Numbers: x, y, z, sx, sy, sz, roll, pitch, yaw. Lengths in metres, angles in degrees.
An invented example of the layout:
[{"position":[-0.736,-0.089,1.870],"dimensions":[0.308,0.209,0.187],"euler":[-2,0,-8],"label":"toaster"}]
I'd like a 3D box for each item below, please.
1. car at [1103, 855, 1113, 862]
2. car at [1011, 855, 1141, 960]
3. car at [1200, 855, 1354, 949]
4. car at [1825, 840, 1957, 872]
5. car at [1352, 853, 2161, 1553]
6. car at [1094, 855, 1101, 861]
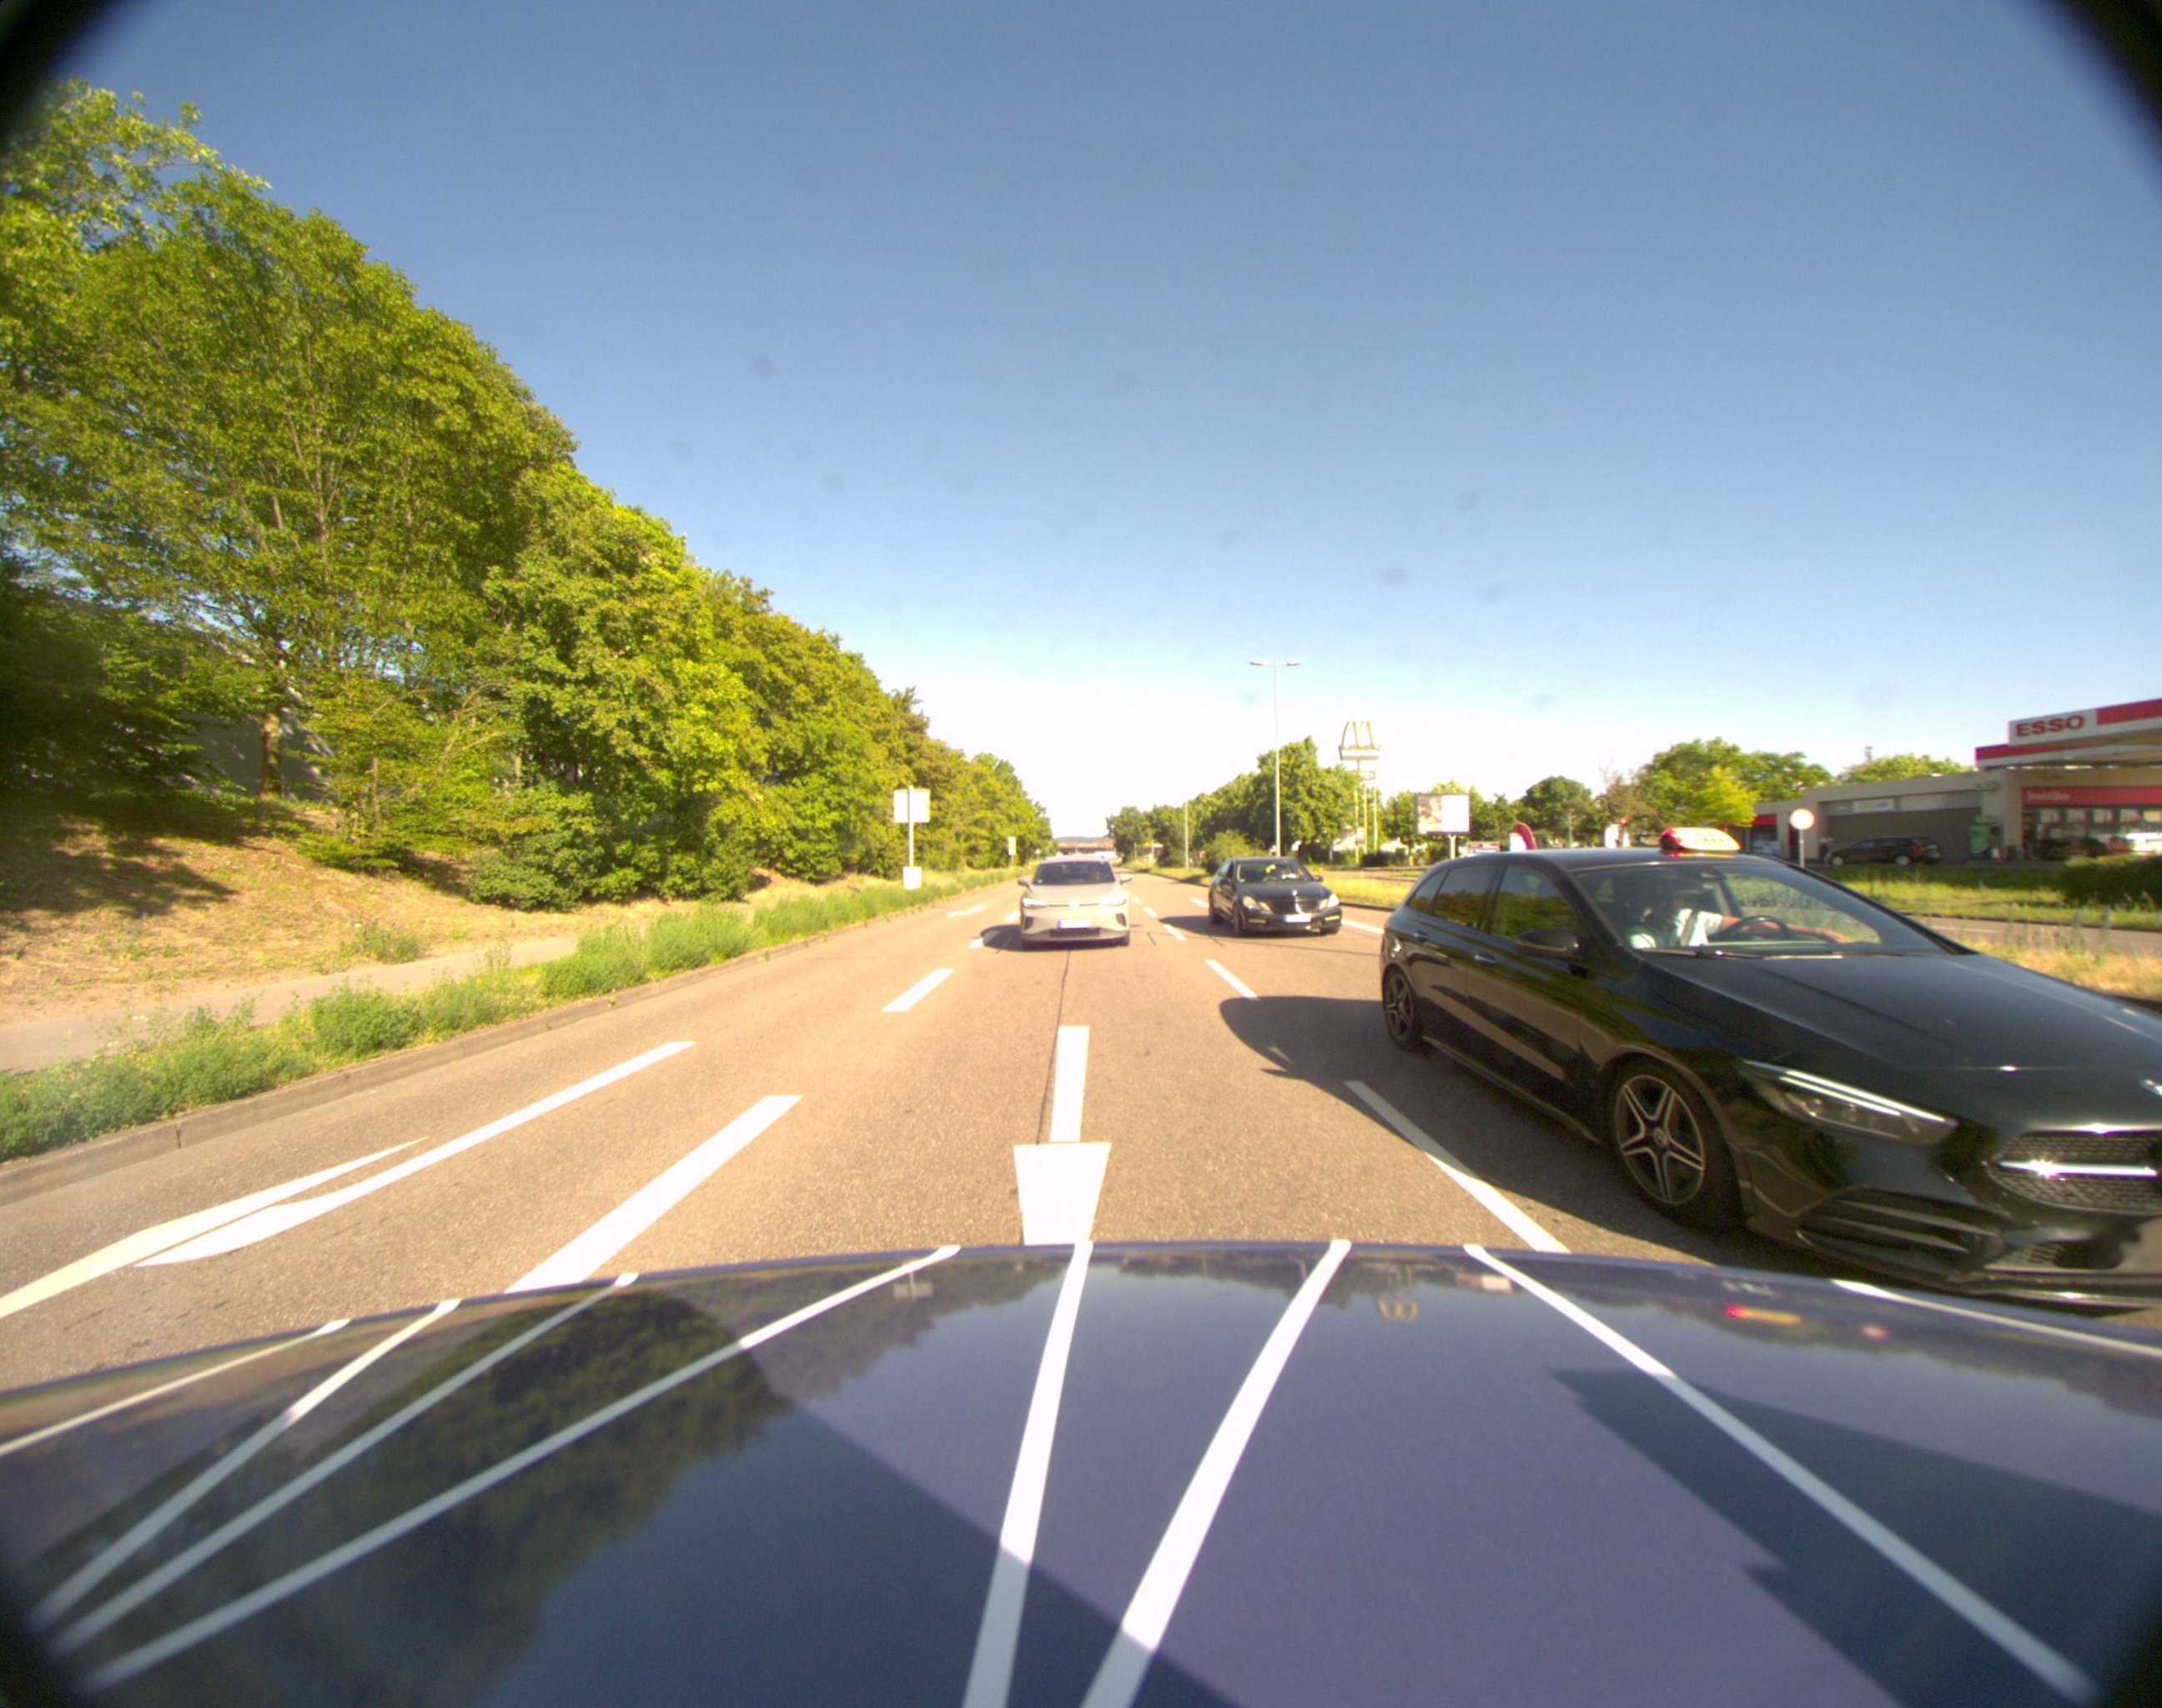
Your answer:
[{"position":[5.893,0.927,166.902],"dimensions":[1.998,1.433,4.000],"euler":[-1,0,1],"label":"car"},{"position":[-0.056,0.866,14.283],"dimensions":[2.025,1.601,4.098],"euler":[-2,0,1],"label":"car"},{"position":[3.728,0.829,15.312],"dimensions":[1.953,1.501,4.462],"euler":[-2,1,1],"label":"car"},{"position":[38.262,0.085,36.042],"dimensions":[1.998,1.397,4.000],"euler":[-1,0,0],"label":"car"},{"position":[3.185,0.818,4.070],"dimensions":[1.788,1.592,4.583],"euler":[-2,0,0],"label":"car"},{"position":[4.646,1.093,211.623],"dimensions":[1.998,1.433,4.000],"euler":[-1,0,1],"label":"car"}]
